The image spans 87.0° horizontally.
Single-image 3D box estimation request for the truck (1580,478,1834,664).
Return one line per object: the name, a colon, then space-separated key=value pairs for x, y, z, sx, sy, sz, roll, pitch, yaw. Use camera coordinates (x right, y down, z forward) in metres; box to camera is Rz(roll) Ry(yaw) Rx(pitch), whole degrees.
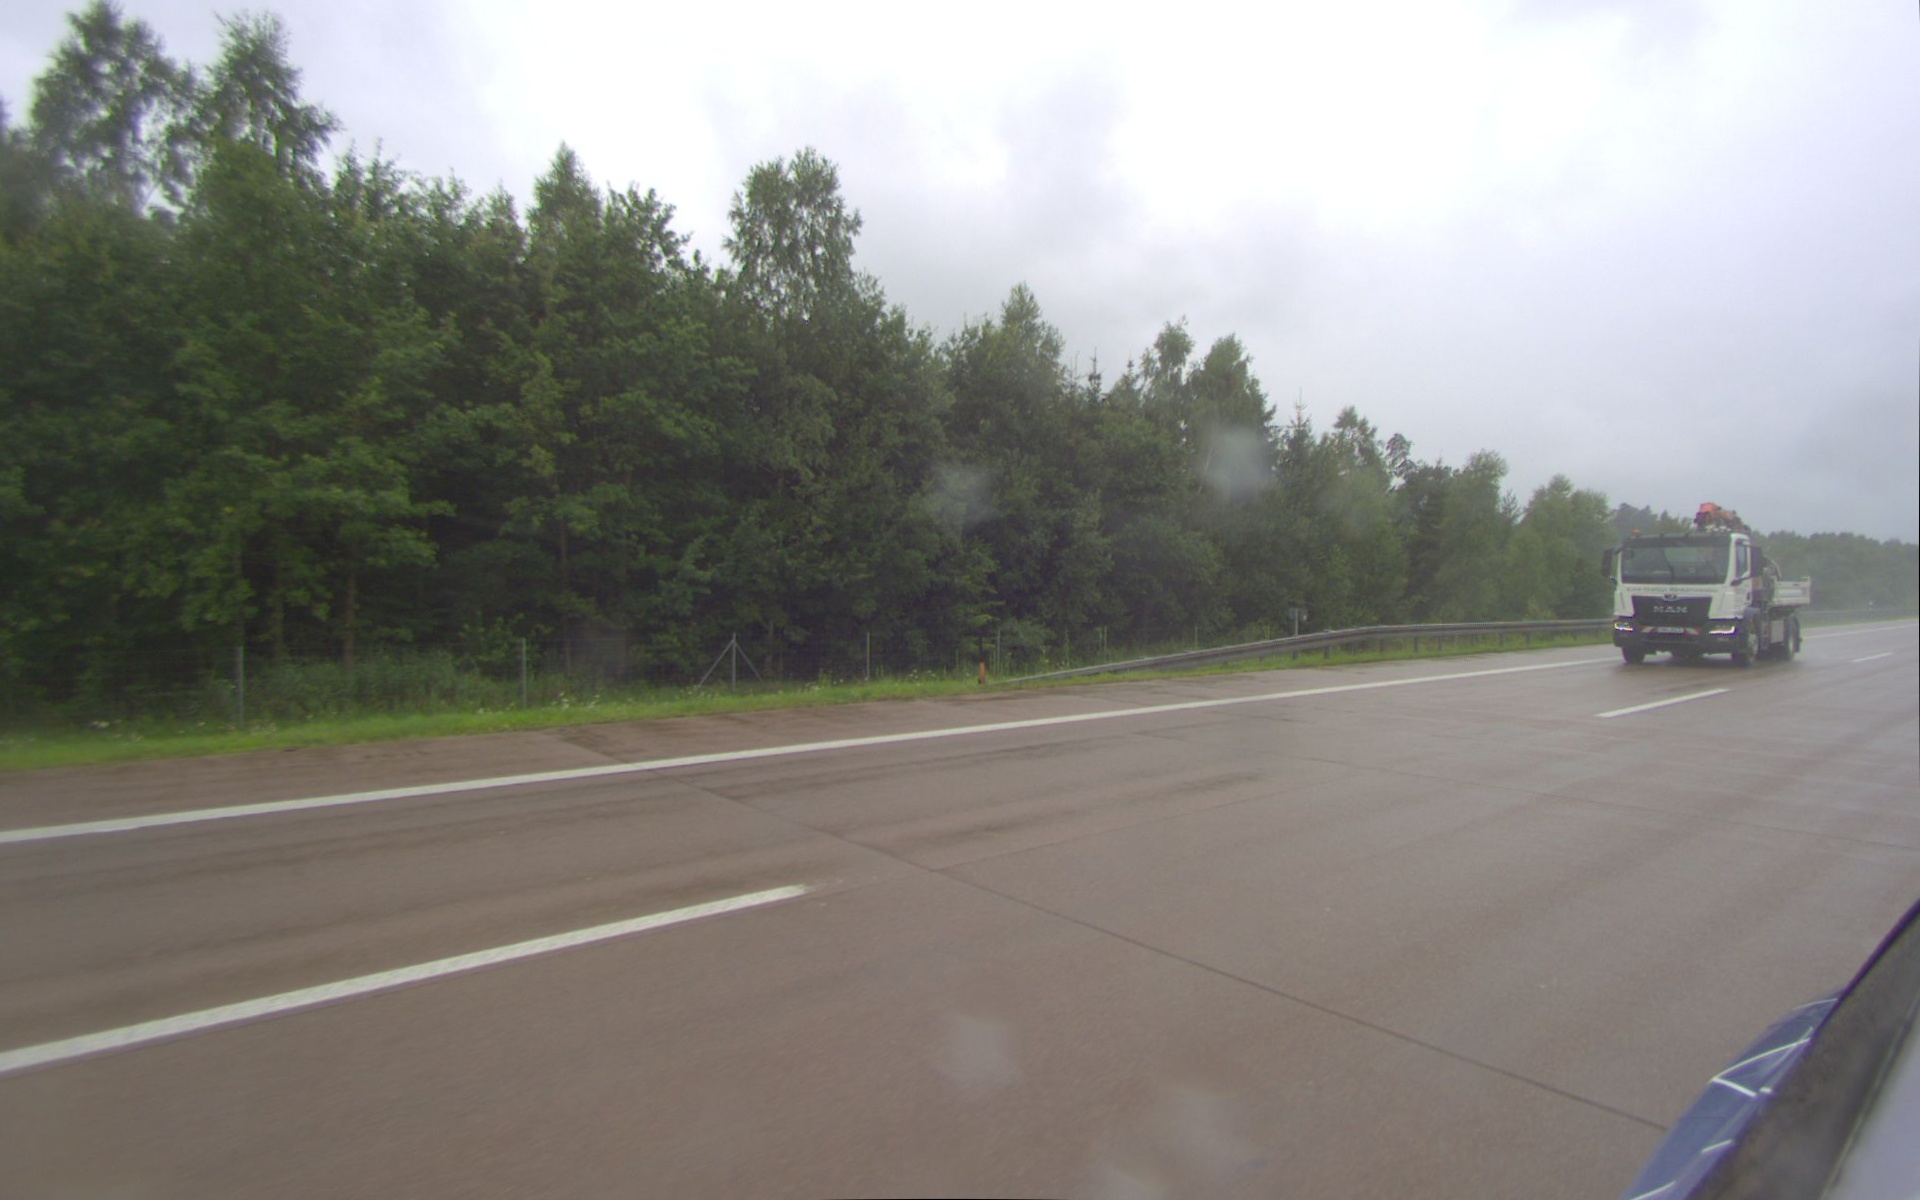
truck: x=18.118 y=-0.619 z=24.334 sx=7.814 sy=3.777 sz=3.240 roll=0 pitch=0 yaw=-40
